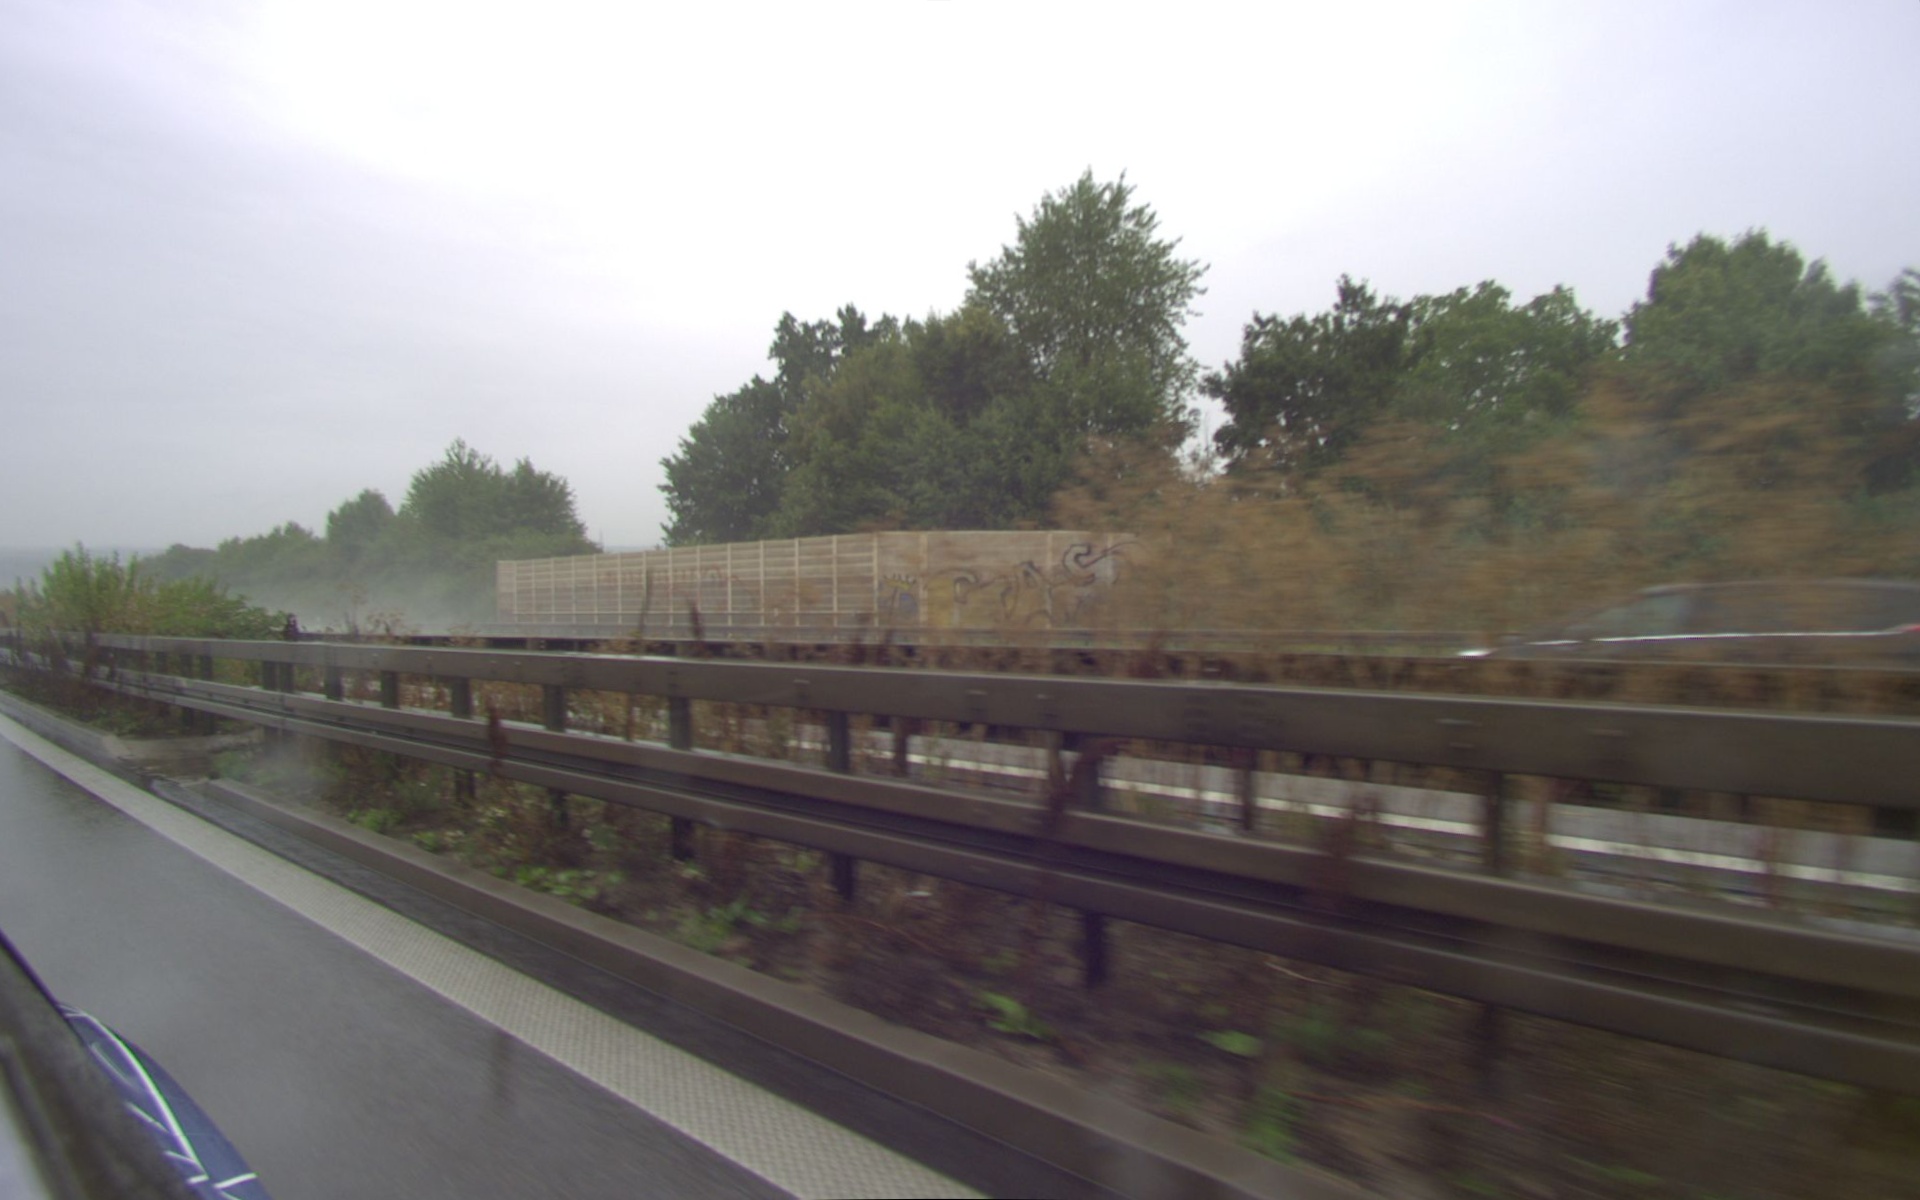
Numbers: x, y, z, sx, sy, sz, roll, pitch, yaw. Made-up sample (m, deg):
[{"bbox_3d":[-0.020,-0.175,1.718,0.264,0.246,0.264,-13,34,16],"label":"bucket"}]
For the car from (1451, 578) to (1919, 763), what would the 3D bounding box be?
[{"bbox_3d":[7.197,0.572,9.829,3.997,1.475,1.973,-1,0,41],"label":"car"}]
